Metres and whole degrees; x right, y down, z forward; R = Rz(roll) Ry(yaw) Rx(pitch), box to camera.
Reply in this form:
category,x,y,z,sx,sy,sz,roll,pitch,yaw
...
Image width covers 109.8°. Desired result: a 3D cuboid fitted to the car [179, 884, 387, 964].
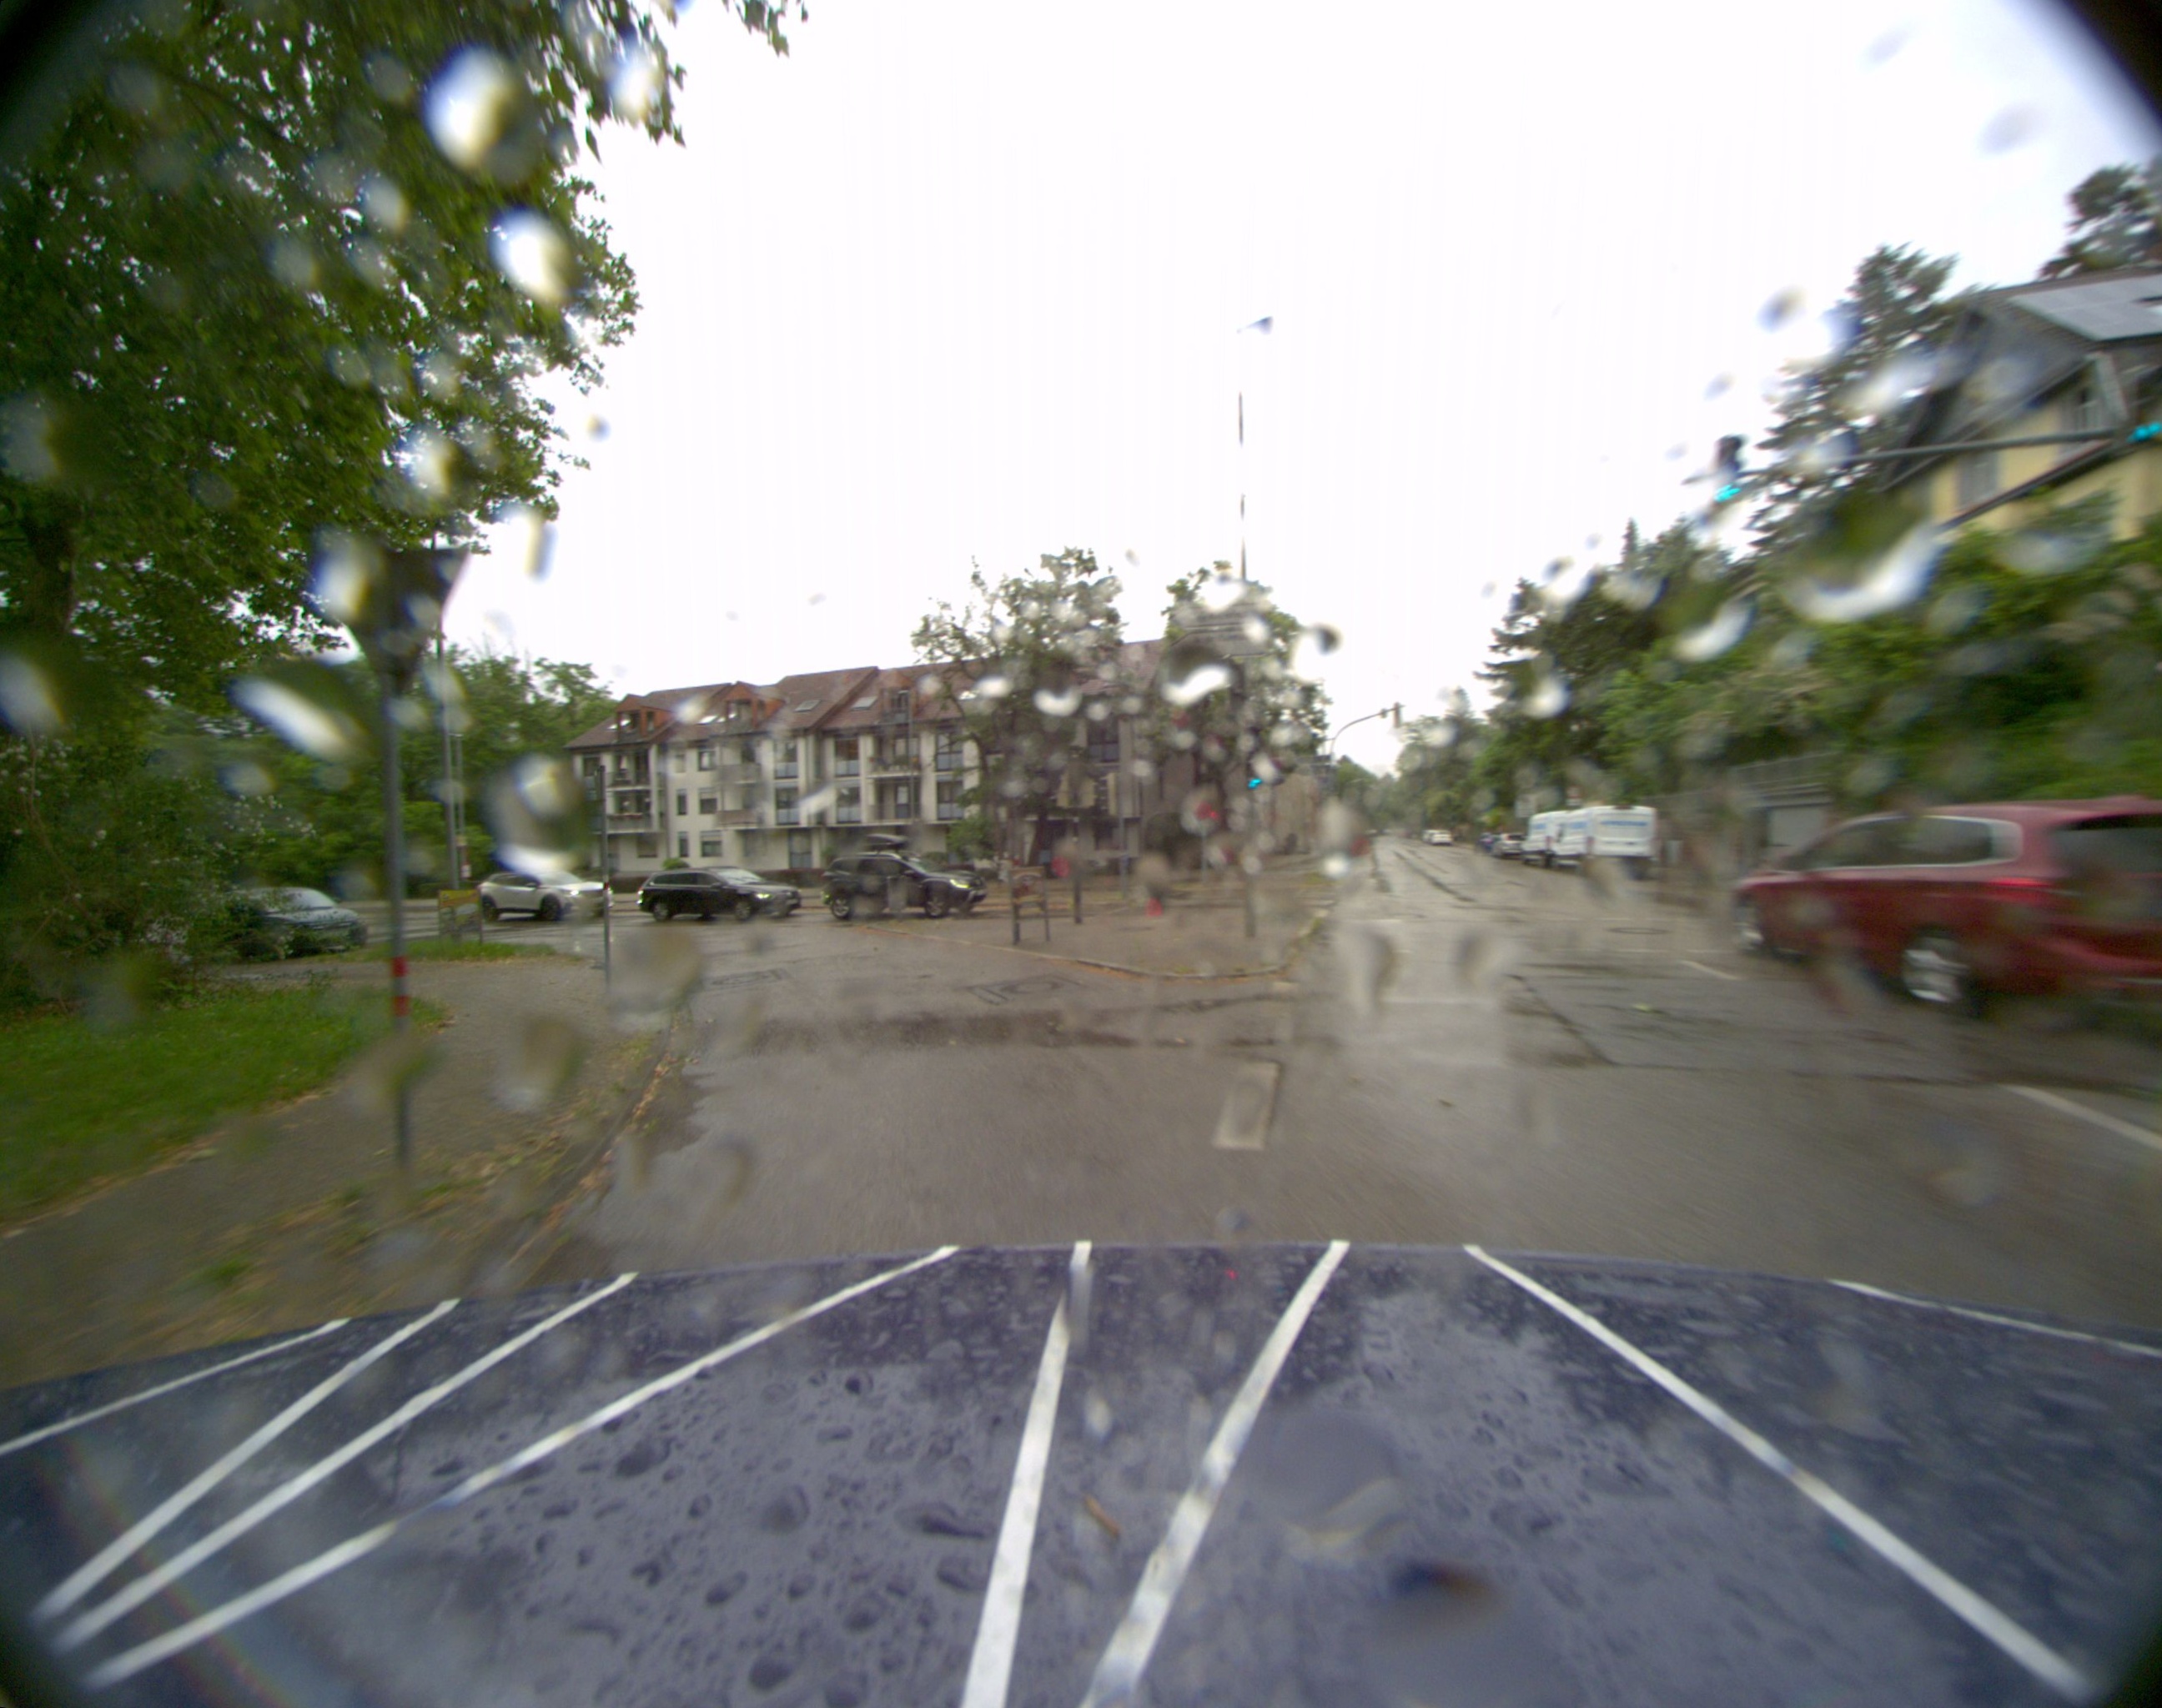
category,x,y,z,sx,sy,sz,roll,pitch,yaw
car,-18.142,1.549,17.314,3.592,1.484,1.756,-1,4,18

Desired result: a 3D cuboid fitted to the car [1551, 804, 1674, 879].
category,x,y,z,sx,sy,sz,roll,pitch,yaw
car,19.476,-0.535,28.216,2.310,2.480,5.685,0,3,20

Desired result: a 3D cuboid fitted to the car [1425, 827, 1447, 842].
category,x,y,z,sx,sy,sz,roll,pitch,yaw
car,40.252,-2.156,86.126,1.923,1.644,4.006,0,1,20

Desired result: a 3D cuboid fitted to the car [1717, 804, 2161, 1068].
category,x,y,z,sx,sy,sz,roll,pitch,yaw
car,7.641,0.467,6.583,1.771,1.591,4.589,0,1,19

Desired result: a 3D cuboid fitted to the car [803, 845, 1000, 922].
category,x,y,z,sx,sy,sz,roll,pitch,yaw
car,-4.621,0.762,19.728,4.592,1.702,1.767,-3,3,16

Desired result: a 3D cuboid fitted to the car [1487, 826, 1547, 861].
category,x,y,z,sx,sy,sz,roll,pitch,yaw
car,25.419,-0.661,44.533,2.106,1.843,5.587,0,3,20

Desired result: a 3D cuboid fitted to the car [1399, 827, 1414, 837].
category,x,y,z,sx,sy,sz,roll,pitch,yaw
car,55.744,-3.771,130.129,1.924,1.642,3.985,0,1,16

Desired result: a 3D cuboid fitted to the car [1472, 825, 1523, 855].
category,x,y,z,sx,sy,sz,roll,pitch,yaw
car,27.784,-0.966,50.888,2.106,1.843,5.587,0,3,20

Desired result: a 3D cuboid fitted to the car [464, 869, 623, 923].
category,x,y,z,sx,sy,sz,roll,pitch,yaw
car,-16.866,1.300,23.869,4.358,1.527,1.760,-2,1,18

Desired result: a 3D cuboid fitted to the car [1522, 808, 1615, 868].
category,x,y,z,sx,sy,sz,roll,pitch,yaw
car,21.735,-0.781,34.196,2.310,2.480,5.587,0,3,20

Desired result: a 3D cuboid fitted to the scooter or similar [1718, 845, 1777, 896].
category,x,y,z,sx,sy,sz,roll,pitch,yaw
scooter or similar,17.865,0.420,20.371,0.462,1.327,1.091,-1,1,-24

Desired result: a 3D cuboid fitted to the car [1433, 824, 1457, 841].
category,x,y,z,sx,sy,sz,roll,pitch,yaw
car,36.395,-2.122,76.026,1.814,1.636,4.006,0,1,20

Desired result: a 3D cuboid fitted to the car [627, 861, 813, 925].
category,x,y,z,sx,sy,sz,roll,pitch,yaw
car,-10.076,1.094,21.256,4.648,1.449,1.839,-3,4,20

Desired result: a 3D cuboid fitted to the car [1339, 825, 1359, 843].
category,x,y,z,sx,sy,sz,roll,pitch,yaw
car,30.028,-2.247,85.251,2.079,1.947,4.454,0,1,18

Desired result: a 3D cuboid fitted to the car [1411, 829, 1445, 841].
category,x,y,z,sx,sy,sz,roll,pitch,yaw
car,43.746,-2.352,95.781,3.871,1.434,1.820,0,1,27
